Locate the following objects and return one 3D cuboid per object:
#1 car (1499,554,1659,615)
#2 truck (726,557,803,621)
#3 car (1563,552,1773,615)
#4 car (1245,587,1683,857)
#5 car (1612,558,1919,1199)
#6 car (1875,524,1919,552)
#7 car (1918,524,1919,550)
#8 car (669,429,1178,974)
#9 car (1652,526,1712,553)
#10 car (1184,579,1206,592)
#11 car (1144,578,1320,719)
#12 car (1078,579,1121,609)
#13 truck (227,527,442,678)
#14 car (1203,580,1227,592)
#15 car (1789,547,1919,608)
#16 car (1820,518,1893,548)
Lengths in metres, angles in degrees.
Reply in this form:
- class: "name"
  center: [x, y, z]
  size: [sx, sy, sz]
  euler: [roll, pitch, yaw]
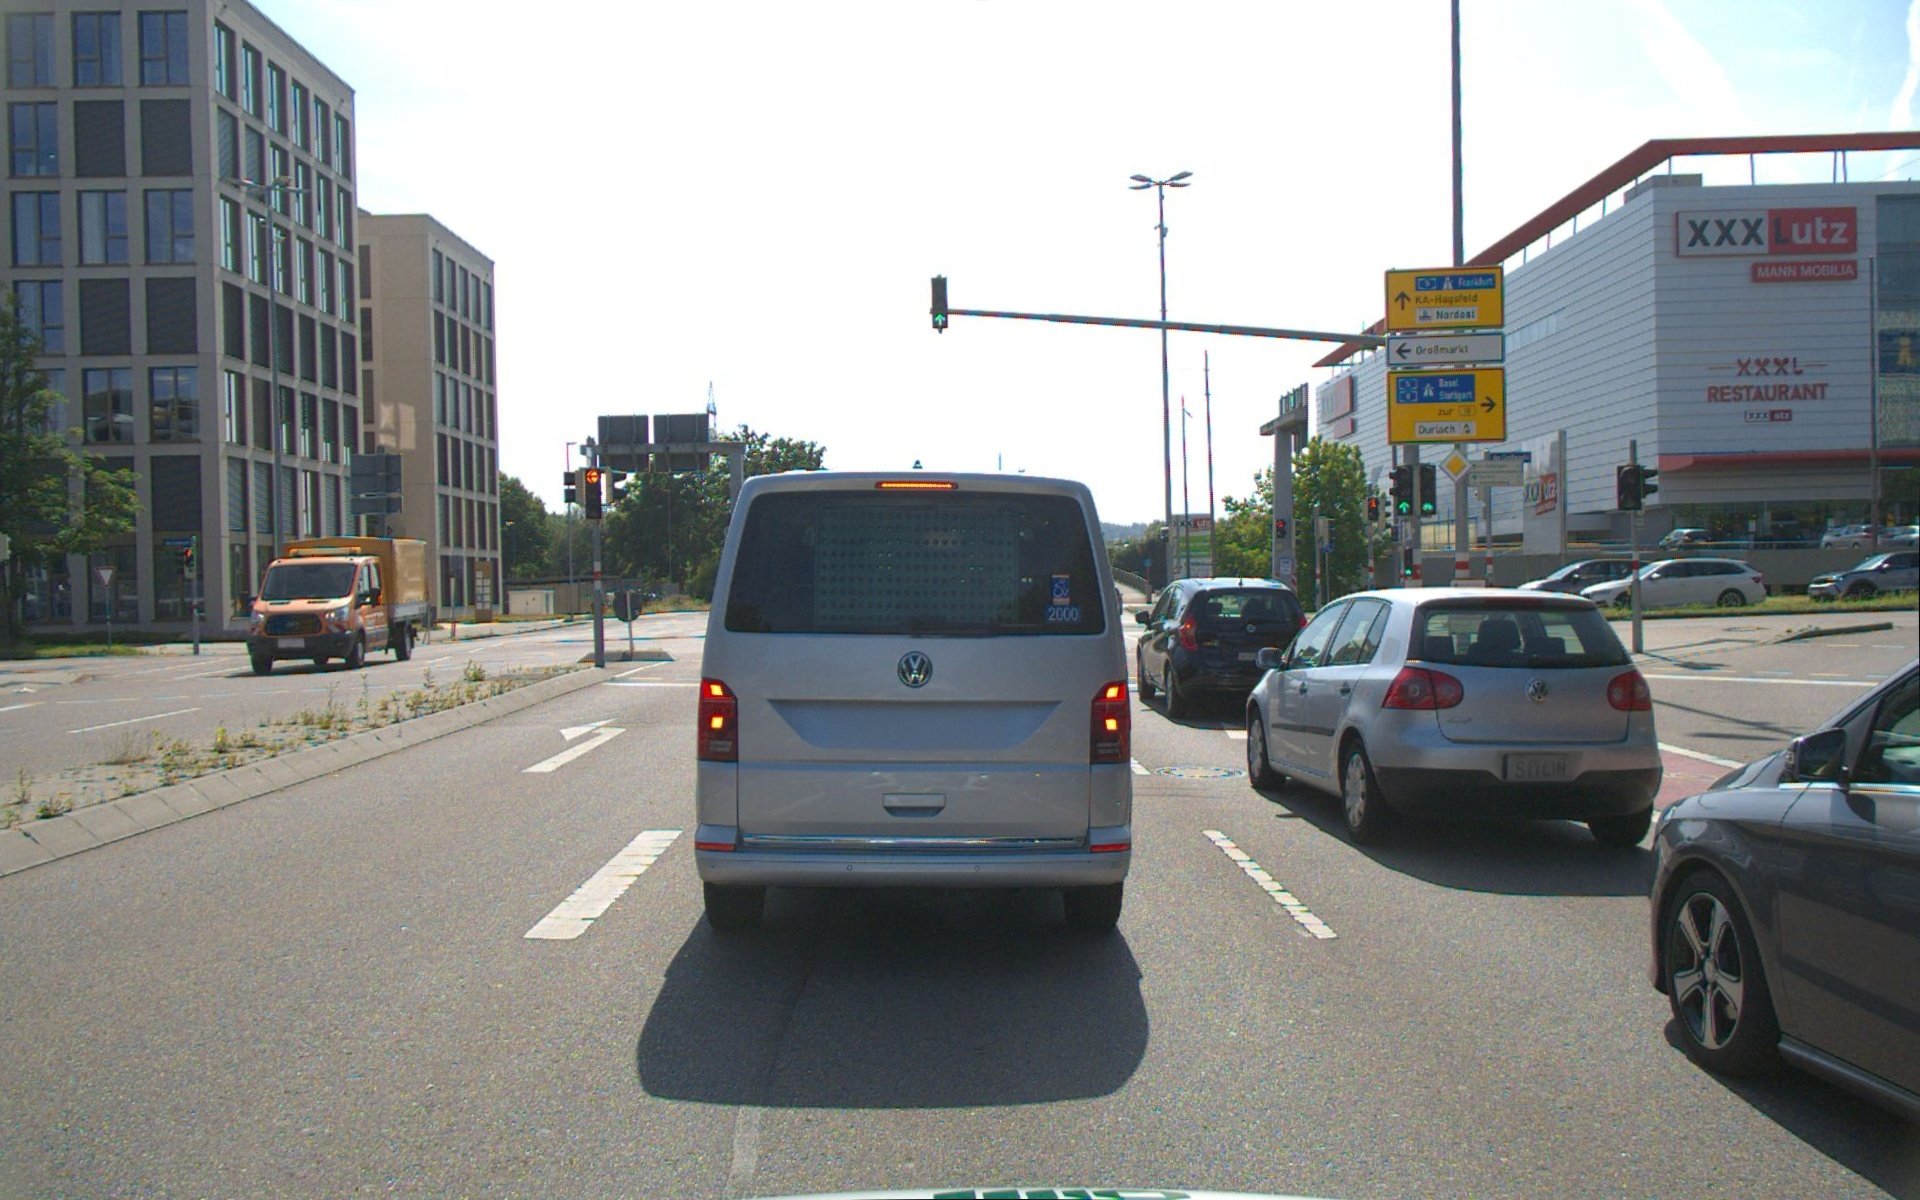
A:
- class: "car"
  center: [17.273, -0.427, 46.312]
  size: [3.803, 1.585, 1.809]
  euler: [-1, 0, 3]
- class: "truck"
  center: [-12.046, -0.744, 102.815]
  size: [2.688, 3.744, 7.586]
  euler: [-2, 1, 9]
- class: "car"
  center: [18.452, -0.421, 43.274]
  size: [4.618, 1.450, 1.959]
  euler: [-2, -1, 2]
- class: "car"
  center: [3.038, 0.641, 10.755]
  size: [1.633, 1.439, 3.681]
  euler: [0, 1, -2]
- class: "car"
  center: [3.215, 0.680, 3.762]
  size: [1.738, 1.566, 4.137]
  euler: [0, 1, -2]
- class: "car"
  center: [51.553, -3.360, 89.531]
  size: [1.794, 1.444, 4.201]
  euler: [-1, 1, 2]
- class: "car"
  center: [54.295, -3.505, 90.140]
  size: [1.833, 1.444, 4.201]
  euler: [-1, 1, 2]
- class: "car"
  center: [-0.168, 0.352, 8.270]
  size: [1.878, 2.010, 4.296]
  euler: [0, 1, -1]
- class: "car"
  center: [41.640, -3.467, 95.463]
  size: [1.734, 1.444, 4.201]
  euler: [-1, 1, 2]
- class: "car"
  center: [31.030, -1.905, 218.554]
  size: [1.849, 1.545, 3.991]
  euler: [1, 0, -9]
- class: "car"
  center: [3.103, 0.493, 19.454]
  size: [1.499, 1.505, 3.596]
  euler: [0, 1, 0]
- class: "car"
  center: [7.207, -0.304, 85.536]
  size: [1.502, 1.463, 3.241]
  euler: [-2, 1, -8]
- class: "truck"
  center: [-12.735, 0.009, 34.264]
  size: [2.330, 2.670, 6.665]
  euler: [-4, 1, -6]
- class: "car"
  center: [33.692, -1.837, 218.630]
  size: [1.957, 1.445, 3.991]
  euler: [1, 0, -9]
- class: "car"
  center: [25.404, -0.625, 45.720]
  size: [3.945, 1.535, 1.909]
  euler: [-2, -1, 2]
- class: "car"
  center: [48.860, -3.644, 90.246]
  size: [1.762, 1.444, 4.007]
  euler: [-1, 1, -1]
